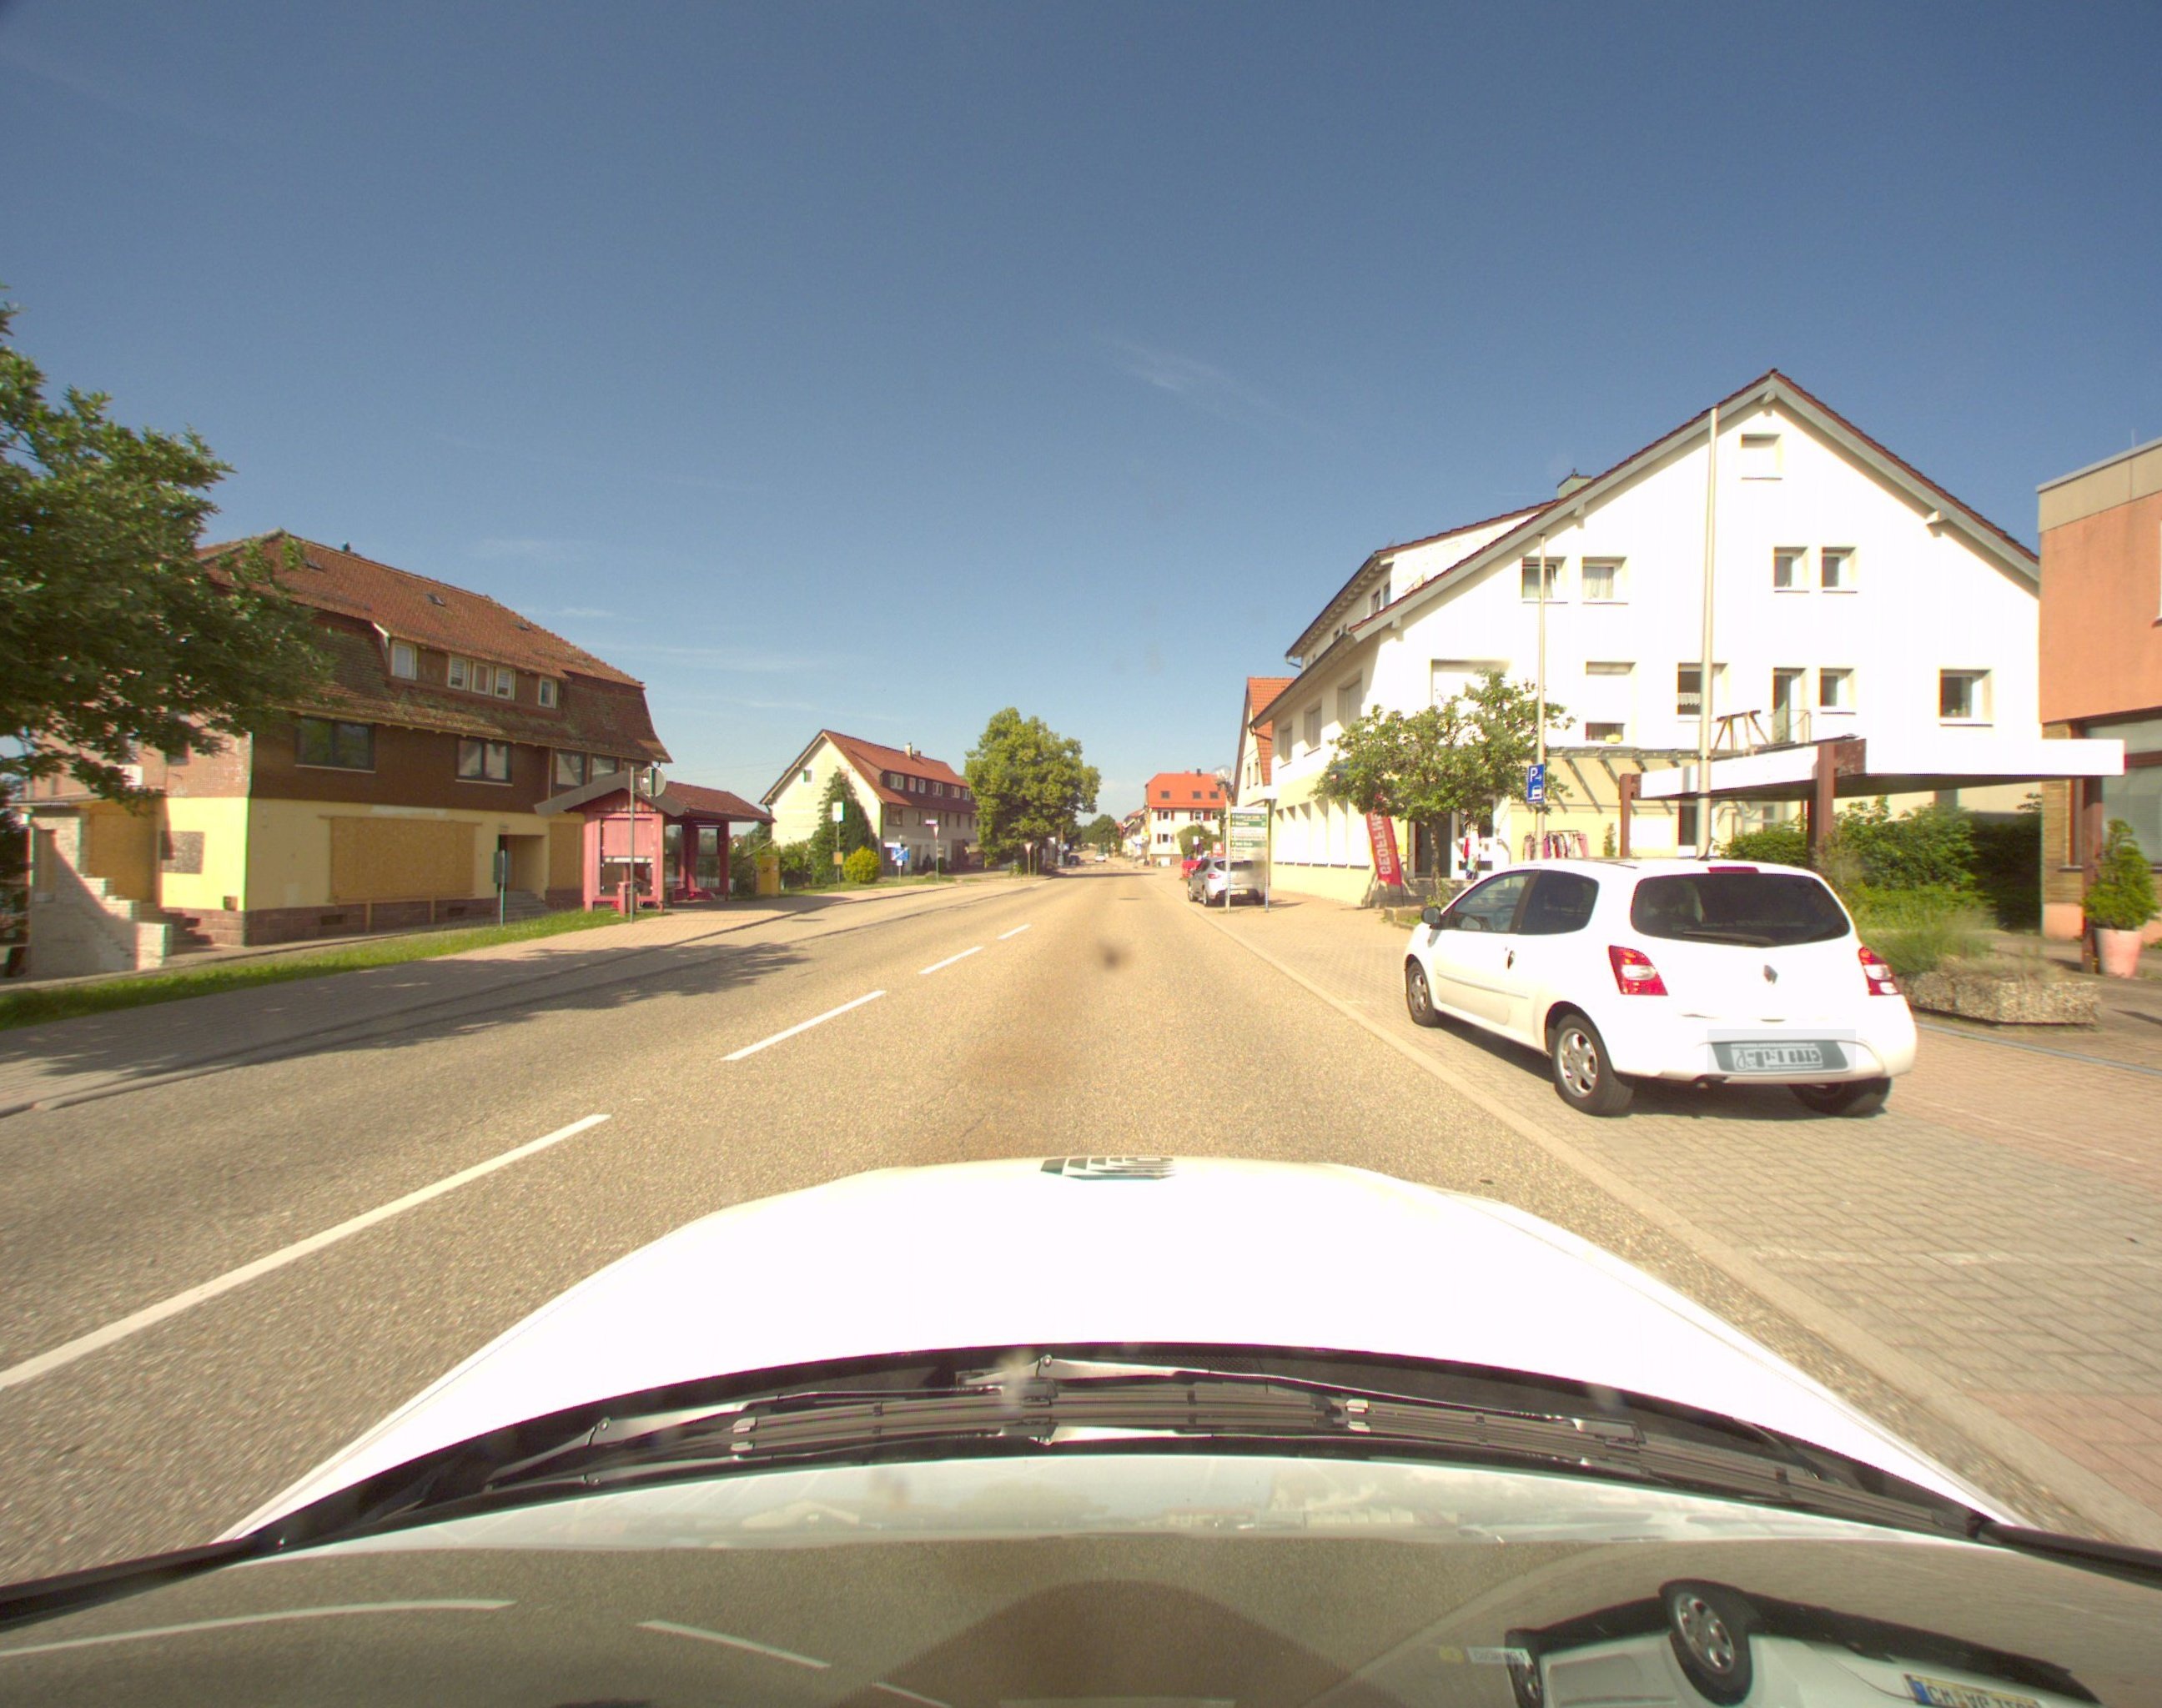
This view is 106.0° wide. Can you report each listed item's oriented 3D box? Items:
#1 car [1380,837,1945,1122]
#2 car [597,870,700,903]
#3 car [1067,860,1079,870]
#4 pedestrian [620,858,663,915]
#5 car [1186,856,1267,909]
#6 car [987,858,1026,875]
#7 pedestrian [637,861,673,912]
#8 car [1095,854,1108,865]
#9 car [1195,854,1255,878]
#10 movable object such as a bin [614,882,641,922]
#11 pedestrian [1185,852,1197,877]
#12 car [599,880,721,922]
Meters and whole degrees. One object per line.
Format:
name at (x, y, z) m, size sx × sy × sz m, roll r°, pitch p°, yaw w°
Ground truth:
car at (3.650, 0.655, 6.021) m, size 1.752 × 1.423 × 3.638 m, roll -2°, pitch 0°, yaw 5°
car at (-21.337, 1.604, 40.212) m, size 4.273 × 1.511 × 1.805 m, roll 1°, pitch -2°, yaw 12°
car at (-1.322, 1.766, 130.906) m, size 1.666 × 1.533 × 3.537 m, roll 4°, pitch 0°, yaw 2°
pedestrian at (-10.876, 0.791, 20.162) m, size 0.615 × 1.364 × 0.674 m, roll -3°, pitch 1°, yaw 1°
car at (4.267, 0.787, 24.420) m, size 1.630 × 1.420 × 3.933 m, roll -2°, pitch 0°, yaw -1°
car at (-7.781, 1.345, 85.169) m, size 3.732 × 1.455 × 1.824 m, roll -3°, pitch -6°, yaw 14°
pedestrian at (-10.845, 0.831, 20.731) m, size 0.627 × 1.253 × 0.423 m, roll -2°, pitch -1°, yaw -1°
car at (4.000, 1.112, 160.083) m, size 2.486 × 2.013 × 4.305 m, roll -3°, pitch 0°, yaw 1°
car at (9.746, 0.772, 54.978) m, size 3.833 × 1.558 × 1.971 m, roll -1°, pitch 0°, yaw 15°
movable object such as a bin at (-9.844, 1.034, 17.678) m, size 0.304 × 0.837 × 0.485 m, roll -1°, pitch -1°, yaw 0°
pedestrian at (8.020, 0.731, 59.264) m, size 0.795 × 1.784 × 0.981 m, roll -1°, pitch 0°, yaw 7°
car at (-15.781, 1.736, 30.756) m, size 1.707 × 1.297 × 4.018 m, roll -2°, pitch 0°, yaw 17°
